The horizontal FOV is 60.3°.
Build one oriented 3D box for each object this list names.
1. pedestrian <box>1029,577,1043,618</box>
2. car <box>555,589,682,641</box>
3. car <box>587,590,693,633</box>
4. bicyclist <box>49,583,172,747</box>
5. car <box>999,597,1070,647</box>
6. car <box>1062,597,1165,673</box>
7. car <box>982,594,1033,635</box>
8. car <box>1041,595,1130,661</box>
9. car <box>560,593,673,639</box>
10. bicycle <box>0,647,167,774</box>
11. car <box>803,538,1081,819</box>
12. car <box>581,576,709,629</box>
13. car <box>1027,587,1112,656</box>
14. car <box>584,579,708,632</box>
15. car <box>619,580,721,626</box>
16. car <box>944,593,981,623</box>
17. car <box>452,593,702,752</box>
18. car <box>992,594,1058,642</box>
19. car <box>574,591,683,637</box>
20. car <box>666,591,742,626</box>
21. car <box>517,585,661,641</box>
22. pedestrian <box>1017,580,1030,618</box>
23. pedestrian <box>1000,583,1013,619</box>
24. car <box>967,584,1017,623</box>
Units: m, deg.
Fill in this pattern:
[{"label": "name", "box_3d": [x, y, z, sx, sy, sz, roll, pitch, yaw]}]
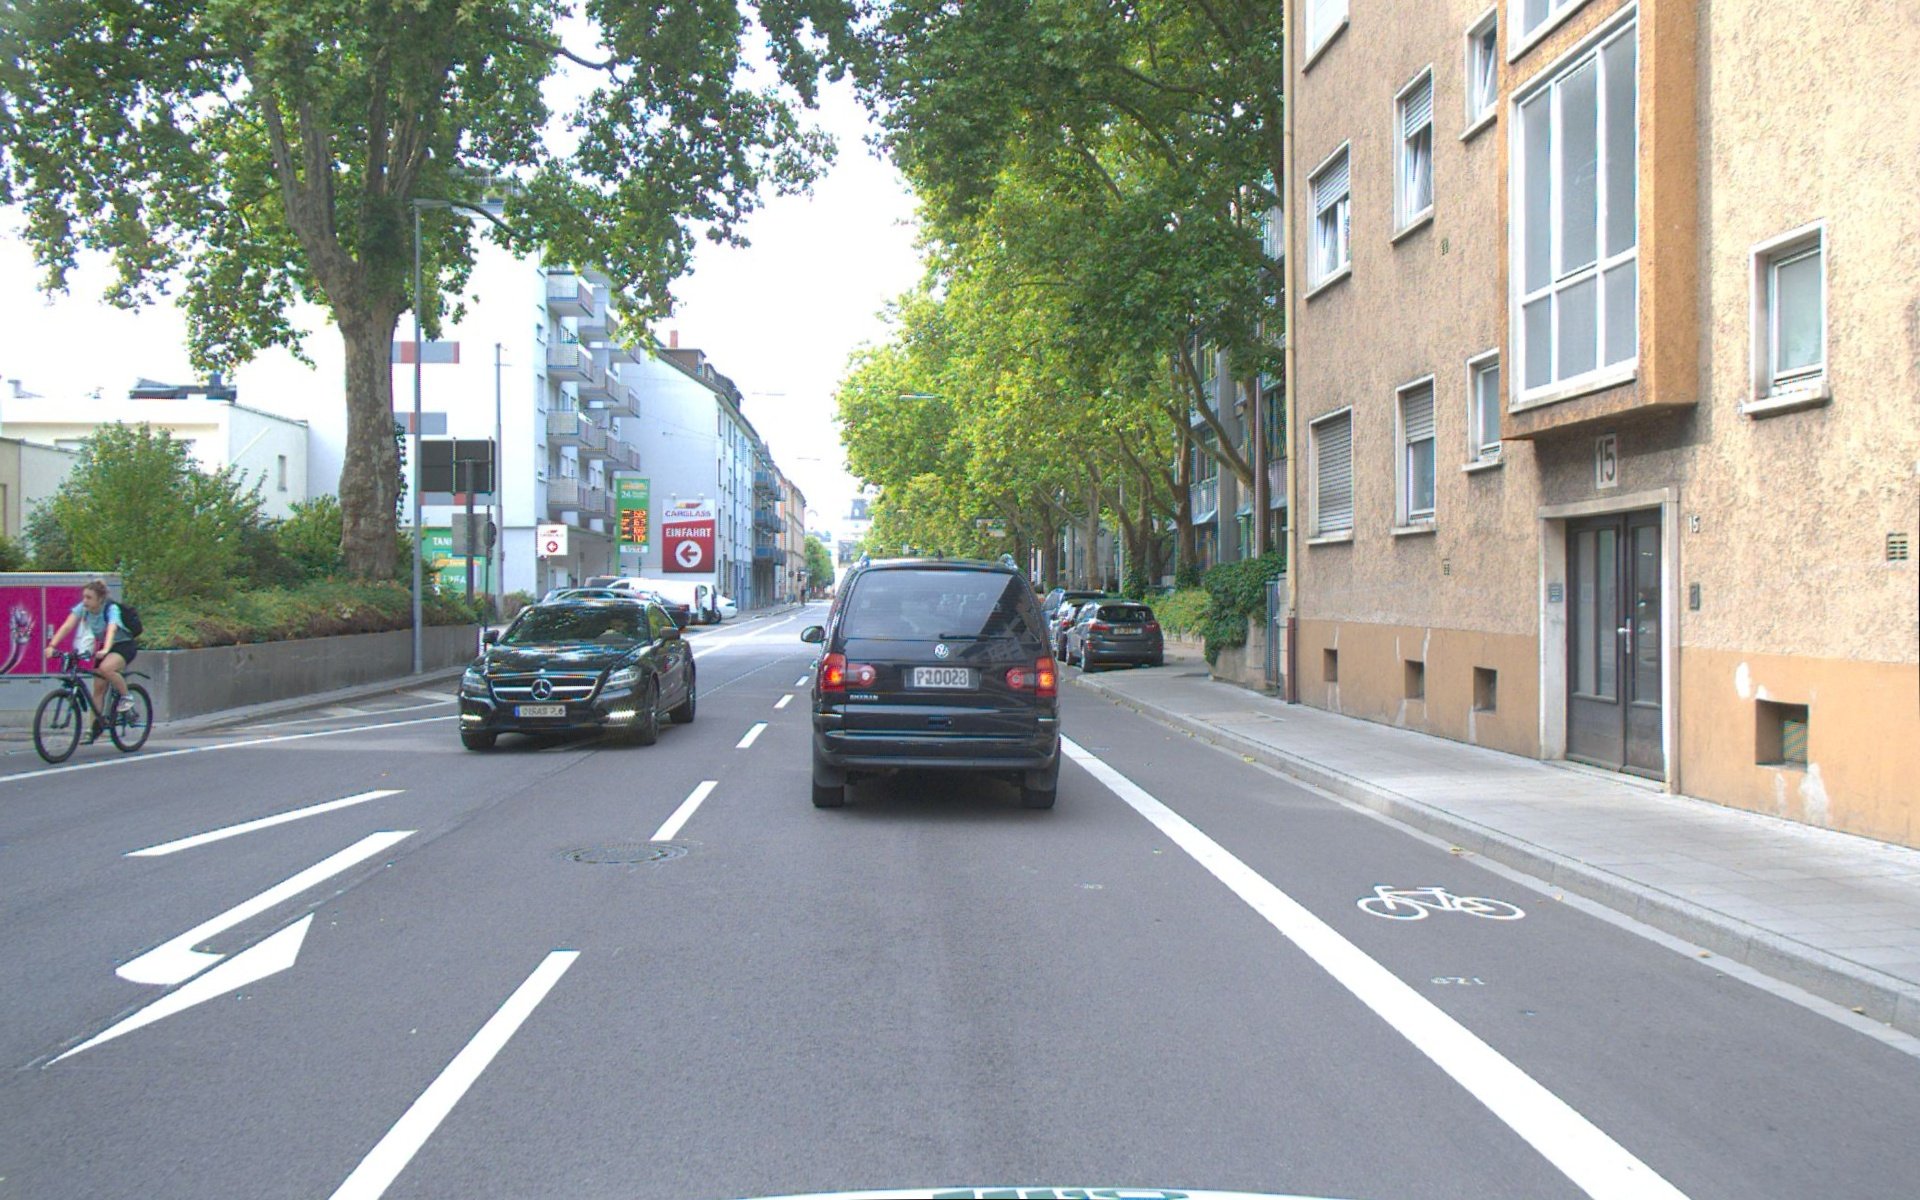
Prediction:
[{"label": "pedestrian", "box_3d": [3.753, -0.125, 81.759, 0.630, 2.009, 0.692, 1, 1, -2]}, {"label": "car", "box_3d": [-11.469, 0.500, 55.695, 3.860, 1.597, 1.753, 2, 0, -1]}, {"label": "car", "box_3d": [-11.930, 0.417, 61.812, 3.609, 1.470, 1.752, 2, 0, -4]}, {"label": "bicyclist", "box_3d": [-8.483, 0.627, 16.550, 0.643, 1.551, 1.077, 1, 1, 1]}, {"label": "car", "box_3d": [2.205, 0.635, 49.822, 1.642, 1.418, 4.457, 0, 0, -4]}, {"label": "car", "box_3d": [3.217, 0.696, 35.385, 1.625, 1.447, 3.864, 0, 1, -4]}, {"label": "car", "box_3d": [1.707, 0.506, 60.781, 1.589, 1.410, 3.999, 3, 0, -2]}, {"label": "car", "box_3d": [2.994, 0.645, 40.075, 1.625, 1.447, 3.944, 0, 1, -4]}, {"label": "car", "box_3d": [-11.976, 0.555, 57.801, 3.609, 1.451, 1.752, 2, 0, -4]}, {"label": "bicycle", "box_3d": [-8.724, 1.048, 16.318, 0.722, 1.024, 2.195, 1, 2, 0]}, {"label": "car", "box_3d": [-0.237, 0.511, 12.533, 1.776, 1.797, 3.735, 1, 0, -4]}, {"label": "car", "box_3d": [-12.723, 0.101, 67.074, 4.819, 1.936, 1.999, 2, 0, -4]}, {"label": "car", "box_3d": [2.926, 0.542, 45.082, 1.625, 1.679, 4.416, 2, 1, -5]}, {"label": "car", "box_3d": [-12.203, 0.205, 64.588, 4.436, 1.911, 2.046, 2, 0, -2]}, {"label": "car", "box_3d": [-12.878, 0.136, 73.623, 4.223, 1.902, 1.822, 2, 0, -5]}, {"label": "car", "box_3d": [0.093, 0.396, 84.465, 1.642, 1.418, 4.458, 2, 0, -3]}, {"label": "car", "box_3d": [-3.843, 0.649, 17.364, 1.774, 1.432, 4.605, 0, 0, -3]}, {"label": "car", "box_3d": [2.127, 0.579, 55.569, 1.693, 1.543, 4.867, 1, 0, -4]}, {"label": "car", "box_3d": [-11.957, 0.484, 59.818, 3.609, 1.511, 1.752, 2, 0, -4]}, {"label": "car", "box_3d": [-11.748, 0.385, 76.087, 3.277, 1.523, 1.594, 2, 0, -5]}, {"label": "car", "box_3d": [-11.873, 0.416, 53.124, 4.171, 1.633, 1.967, 1, 1, -3]}, {"label": "pedestrian", "box_3d": [3.153, -0.051, 81.906, 0.576, 1.870, 0.692, 1, 1, -2]}, {"label": "pedestrian", "box_3d": [2.301, 0.058, 81.911, 0.576, 1.731, 0.508, 1, 1, -2]}, {"label": "car", "box_3d": [1.250, 0.132, 65.836, 1.598, 1.495, 4.314, 0, 0, -4]}]
